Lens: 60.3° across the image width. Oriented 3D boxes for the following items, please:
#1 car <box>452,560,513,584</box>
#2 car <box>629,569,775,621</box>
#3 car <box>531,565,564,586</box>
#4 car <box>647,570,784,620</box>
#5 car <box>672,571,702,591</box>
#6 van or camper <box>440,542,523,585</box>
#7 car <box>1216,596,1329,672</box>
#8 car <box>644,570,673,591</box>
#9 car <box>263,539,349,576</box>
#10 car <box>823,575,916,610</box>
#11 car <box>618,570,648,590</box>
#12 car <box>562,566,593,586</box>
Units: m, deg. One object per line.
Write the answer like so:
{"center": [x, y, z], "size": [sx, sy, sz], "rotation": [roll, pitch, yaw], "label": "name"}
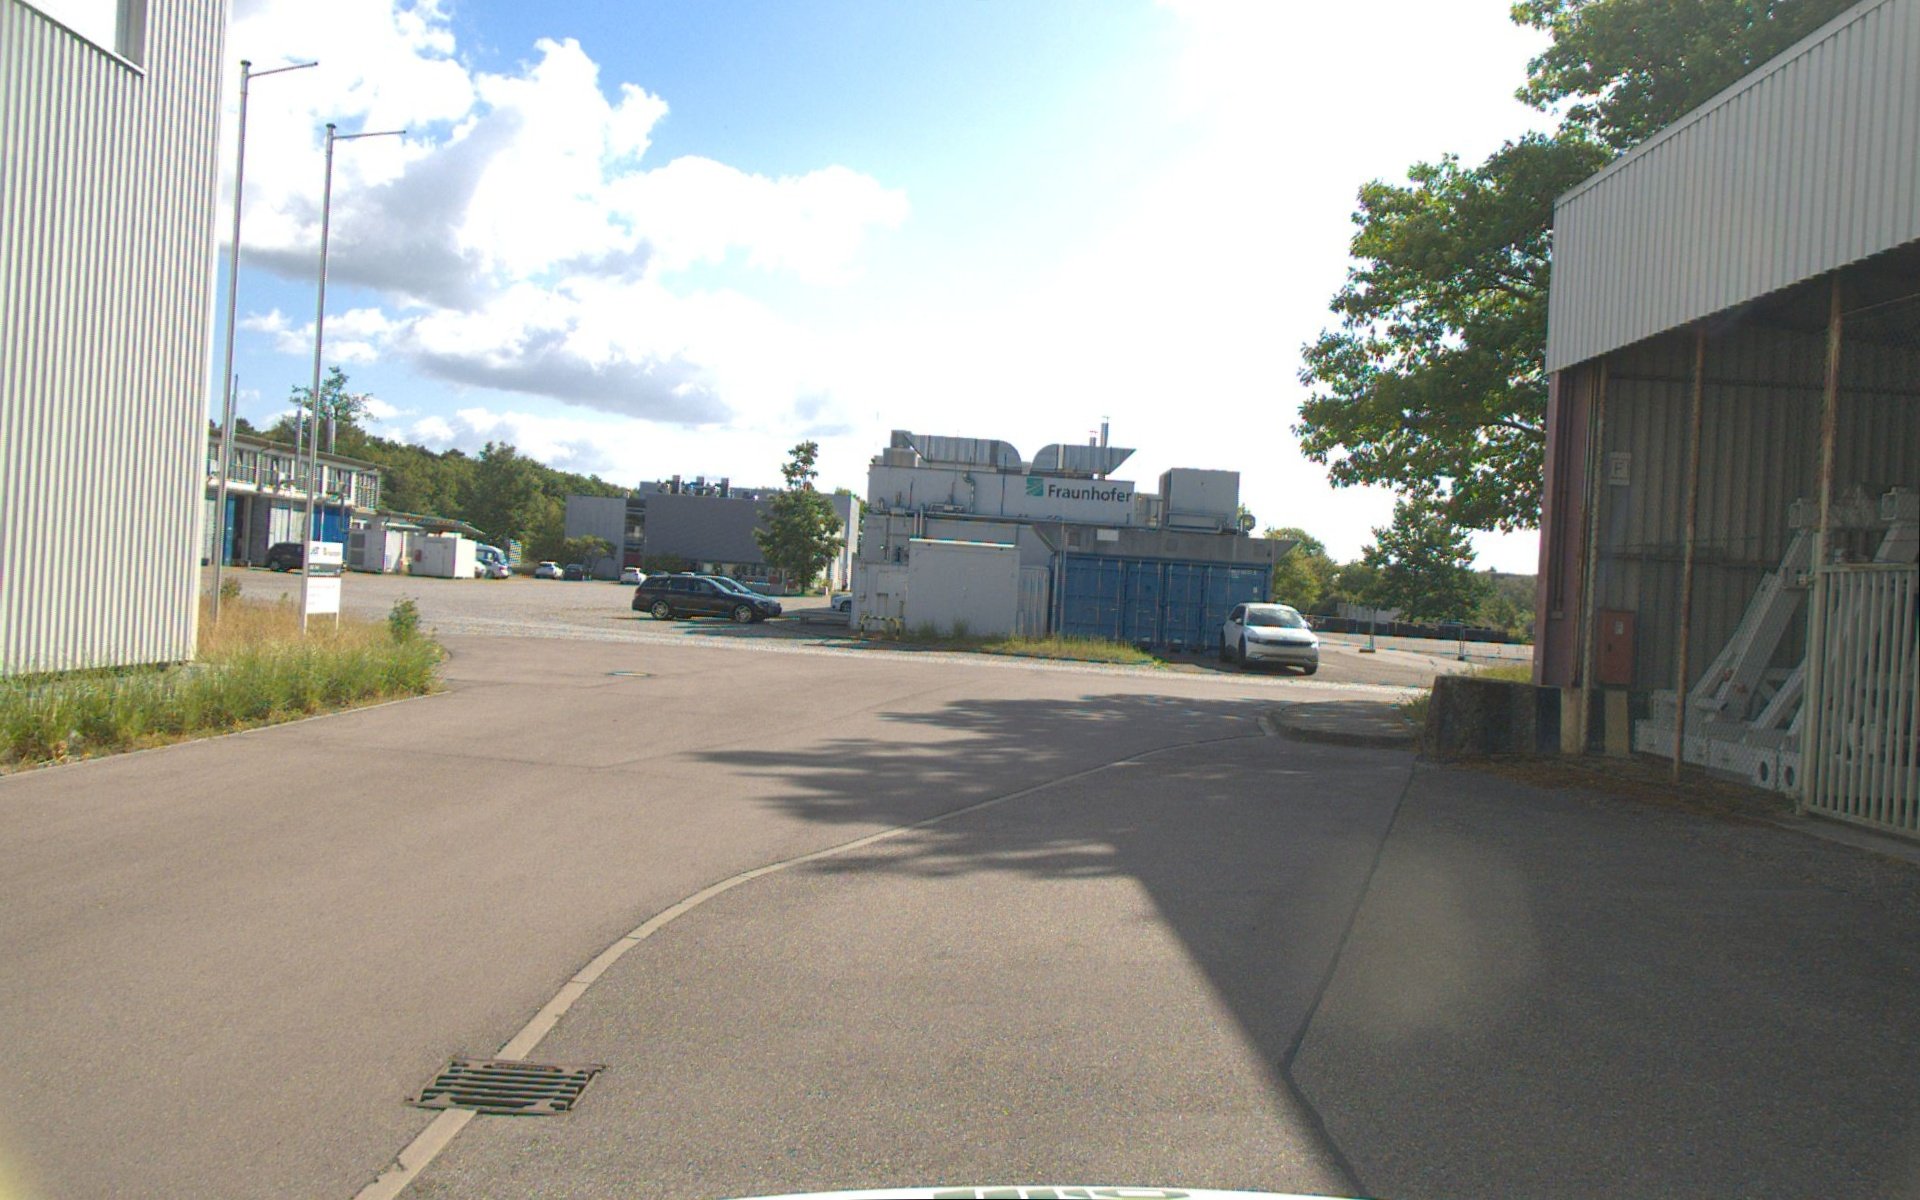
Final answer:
{"center": [-35.933, -2.088, 124.532], "size": [3.907, 1.638, 1.999], "rotation": [3, 0, -2], "label": "car"}
{"center": [-8.466, -0.166, 54.540], "size": [4.432, 1.534, 1.909], "rotation": [2, 0, 1], "label": "car"}
{"center": [-37.648, -2.235, 150.982], "size": [1.953, 1.766, 3.999], "rotation": [1, 0, -1], "label": "car"}
{"center": [-8.507, -0.165, 57.777], "size": [4.432, 1.534, 1.909], "rotation": [2, 0, 1], "label": "car"}
{"center": [-24.996, -1.754, 151.527], "size": [2.149, 1.766, 3.999], "rotation": [1, 0, -1], "label": "car"}
{"center": [-36.952, -2.814, 127.782], "size": [5.600, 2.979, 2.472], "rotation": [3, 0, -3], "label": "van or camper"}
{"center": [7.847, 0.814, 41.925], "size": [1.953, 1.613, 4.173], "rotation": [3, 2, -1], "label": "car"}
{"center": [-27.529, -1.782, 151.161], "size": [1.953, 1.766, 3.999], "rotation": [1, 0, -1], "label": "car"}
{"center": [-35.920, -2.331, 90.984], "size": [3.910, 1.817, 1.998], "rotation": [3, 0, -6], "label": "car"}
{"center": [-4.455, -0.381, 82.172], "size": [4.433, 1.534, 1.909], "rotation": [3, 0, 1], "label": "car"}
{"center": [-29.975, -1.838, 151.491], "size": [1.953, 1.766, 3.999], "rotation": [1, 0, -1], "label": "car"}
{"center": [-34.899, -2.172, 150.951], "size": [1.953, 1.766, 3.999], "rotation": [1, 0, -1], "label": "car"}
